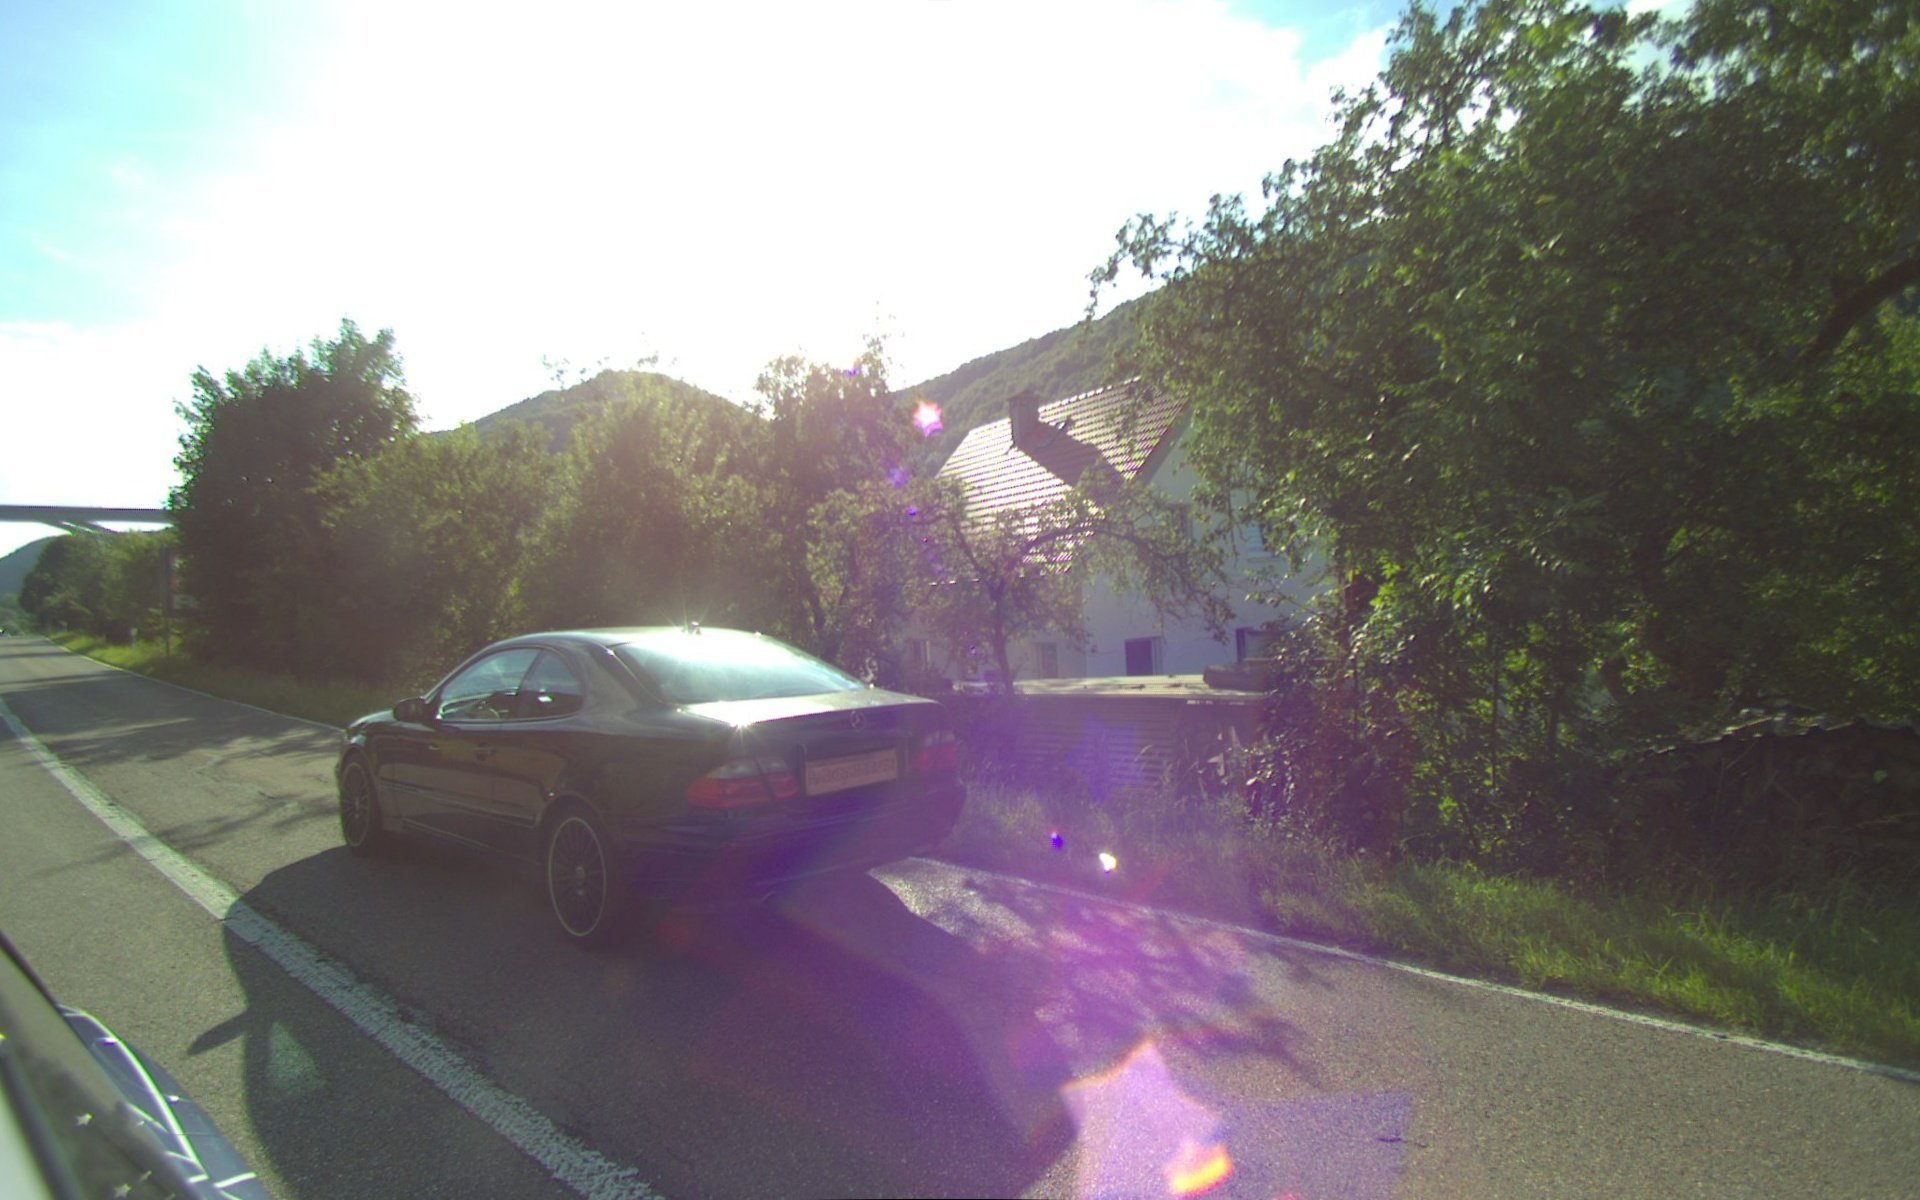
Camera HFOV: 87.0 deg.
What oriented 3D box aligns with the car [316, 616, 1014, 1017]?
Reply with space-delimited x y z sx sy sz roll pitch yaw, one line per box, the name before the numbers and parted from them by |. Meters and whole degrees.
car | -1.859 0.787 5.493 4.200 1.364 1.578 -1 0 40
